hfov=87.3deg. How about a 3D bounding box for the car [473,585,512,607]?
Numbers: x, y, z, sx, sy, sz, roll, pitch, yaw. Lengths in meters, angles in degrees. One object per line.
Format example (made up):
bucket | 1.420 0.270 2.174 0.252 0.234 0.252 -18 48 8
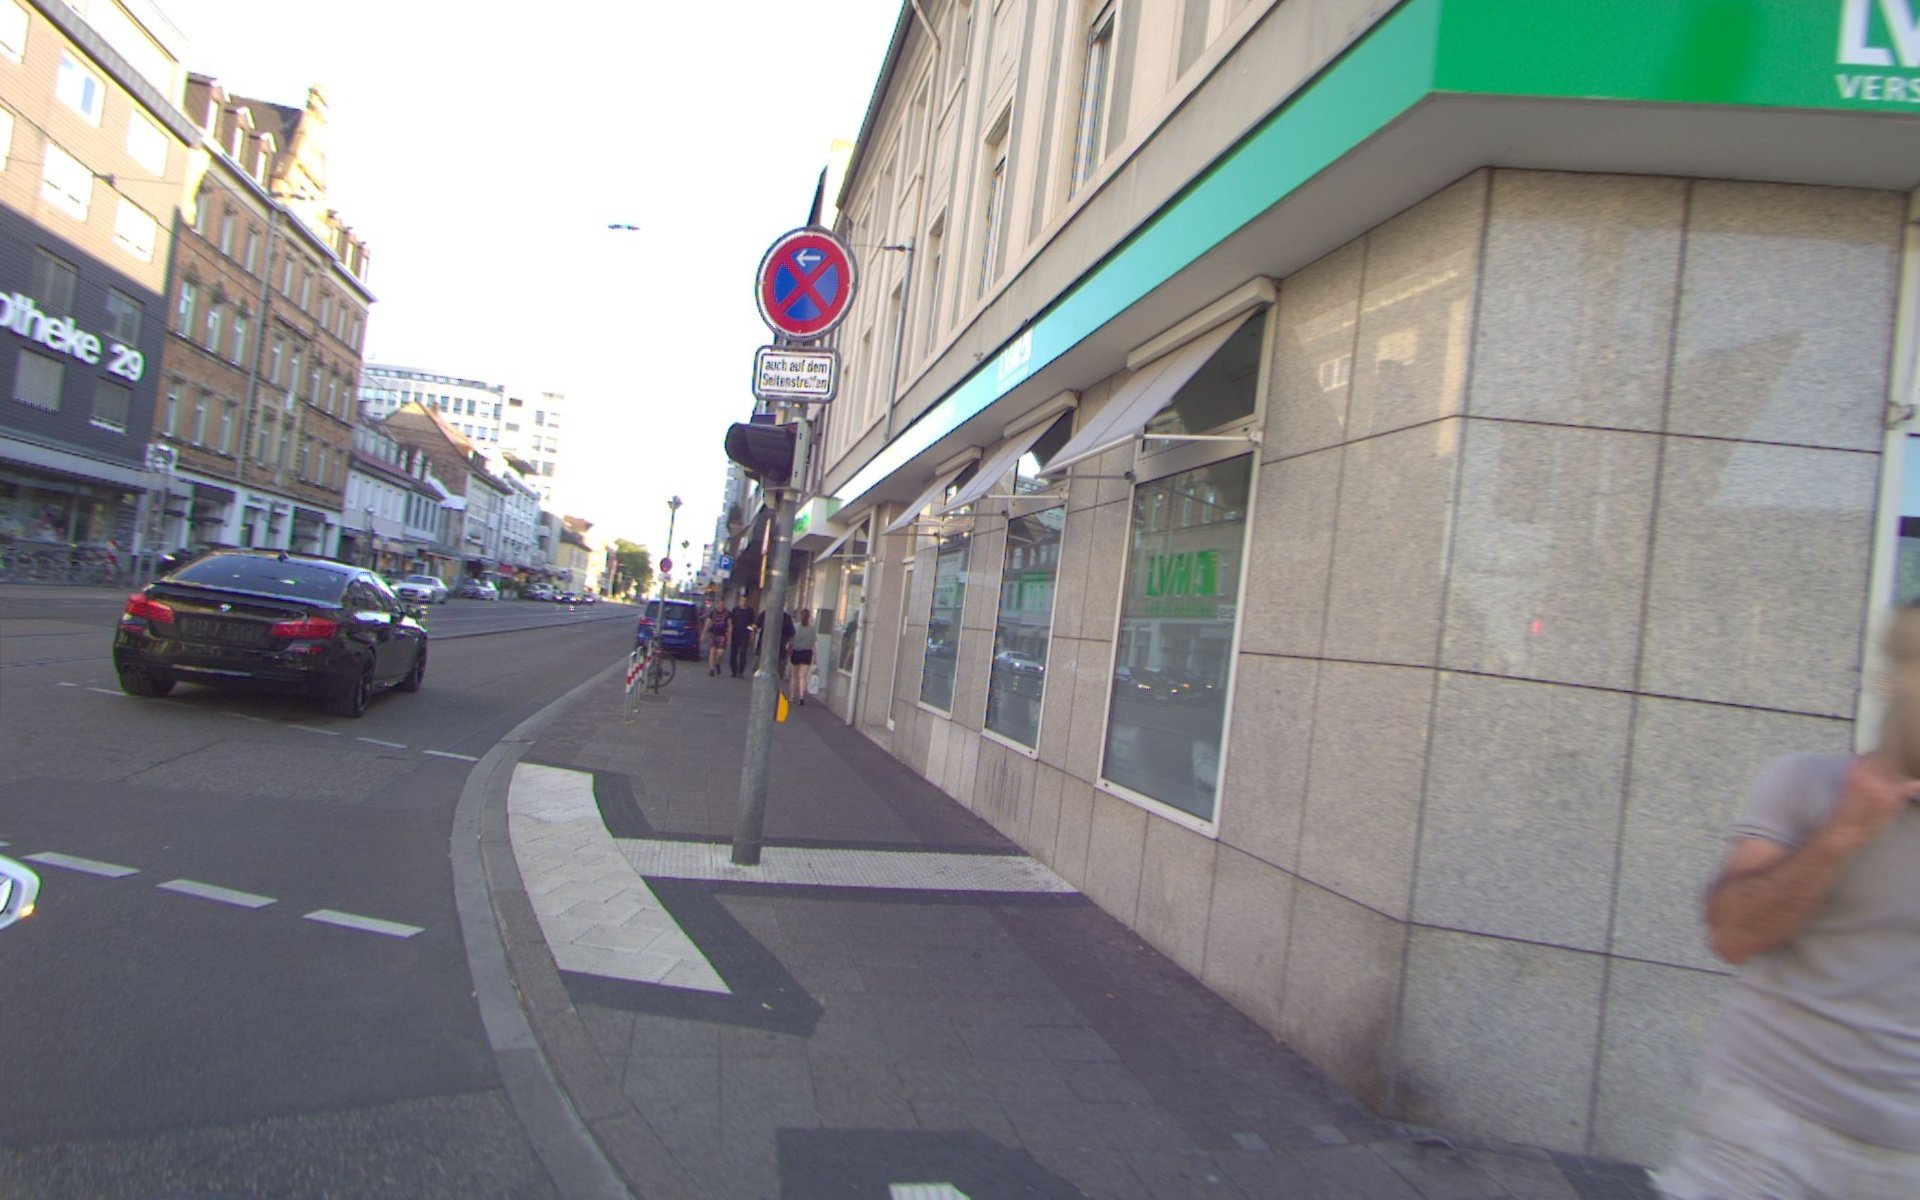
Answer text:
car | -39.366 -0.318 84.762 1.968 1.469 4.321 7 -2 -13

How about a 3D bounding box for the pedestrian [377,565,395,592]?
pedestrian | -36.765 -1.377 64.425 0.654 1.663 0.693 7 -1 -14

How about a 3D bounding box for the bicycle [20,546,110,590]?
bicycle | -25.238 -0.899 28.393 1.784 0.923 0.454 10 -1 -15

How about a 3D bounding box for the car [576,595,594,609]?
car | -46.754 0.302 125.461 1.672 1.469 4.452 8 -2 -16

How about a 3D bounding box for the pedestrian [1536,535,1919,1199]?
pedestrian | 1.434 0.850 1.564 0.681 1.763 0.654 6 -1 8

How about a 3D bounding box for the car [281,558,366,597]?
car | -30.011 -1.015 47.619 1.845 1.469 4.602 7 -2 -13

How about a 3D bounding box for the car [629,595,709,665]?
car | -8.733 0.874 30.531 1.968 1.747 4.567 7 -2 -14

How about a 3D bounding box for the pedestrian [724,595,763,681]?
pedestrian | -5.135 0.901 23.854 0.653 1.951 0.876 6 -1 -16

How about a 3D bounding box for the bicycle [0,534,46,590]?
bicycle | -24.095 -1.053 24.841 2.087 1.237 0.552 10 -2 -15

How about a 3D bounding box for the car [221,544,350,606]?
car | -22.824 -0.776 34.271 1.967 1.748 4.719 5 -2 -13

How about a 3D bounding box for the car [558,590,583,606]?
car | -42.363 -0.222 109.506 1.970 1.469 4.635 7 -2 -17

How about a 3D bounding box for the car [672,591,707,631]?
car | -18.875 0.762 70.338 2.066 2.484 6.018 6 -2 -14

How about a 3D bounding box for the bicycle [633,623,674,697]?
bicycle | -5.275 1.016 17.362 0.527 1.160 1.486 7 -2 -16

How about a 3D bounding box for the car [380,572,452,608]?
car | -27.475 -0.476 50.981 1.969 1.469 4.646 7 -2 -14

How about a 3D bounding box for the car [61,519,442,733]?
car | -6.894 0.272 10.444 1.933 1.514 4.449 9 -3 -19

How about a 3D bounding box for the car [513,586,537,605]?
car | -45.284 -0.433 104.761 1.845 1.704 3.987 8 -3 -19

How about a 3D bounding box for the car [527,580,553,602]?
car | -46.523 -0.990 111.514 1.971 2.181 4.896 7 -2 -17

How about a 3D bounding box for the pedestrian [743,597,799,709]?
pedestrian | -3.285 0.901 17.441 0.756 1.827 0.926 5 -1 -13

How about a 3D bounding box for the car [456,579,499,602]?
car | -38.138 -0.710 79.607 1.968 1.469 4.813 7 -2 -13

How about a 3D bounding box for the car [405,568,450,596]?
car | -34.429 -1.137 65.163 1.578 1.456 3.806 6 -3 -14

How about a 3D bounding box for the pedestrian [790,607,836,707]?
pedestrian | -2.662 1.027 18.209 0.641 1.739 0.677 5 -1 -14

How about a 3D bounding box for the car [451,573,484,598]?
car | -36.672 -1.054 74.897 1.458 1.595 2.789 7 -2 -14

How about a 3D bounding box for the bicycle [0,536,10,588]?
bicycle | -23.799 -1.068 23.578 2.087 1.237 0.552 10 -2 -15

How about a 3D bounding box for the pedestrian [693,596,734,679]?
pedestrian | -5.762 0.874 23.505 0.728 1.850 0.848 6 -1 -16

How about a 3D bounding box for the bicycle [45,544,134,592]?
bicycle | -25.276 -0.915 29.223 1.810 1.059 0.487 10 0 -15

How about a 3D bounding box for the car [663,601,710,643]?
car | -13.109 1.030 48.426 1.968 1.748 4.555 5 -2 -14

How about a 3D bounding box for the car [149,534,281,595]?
car | -26.808 -1.208 36.418 1.906 1.693 4.638 9 -2 -12
